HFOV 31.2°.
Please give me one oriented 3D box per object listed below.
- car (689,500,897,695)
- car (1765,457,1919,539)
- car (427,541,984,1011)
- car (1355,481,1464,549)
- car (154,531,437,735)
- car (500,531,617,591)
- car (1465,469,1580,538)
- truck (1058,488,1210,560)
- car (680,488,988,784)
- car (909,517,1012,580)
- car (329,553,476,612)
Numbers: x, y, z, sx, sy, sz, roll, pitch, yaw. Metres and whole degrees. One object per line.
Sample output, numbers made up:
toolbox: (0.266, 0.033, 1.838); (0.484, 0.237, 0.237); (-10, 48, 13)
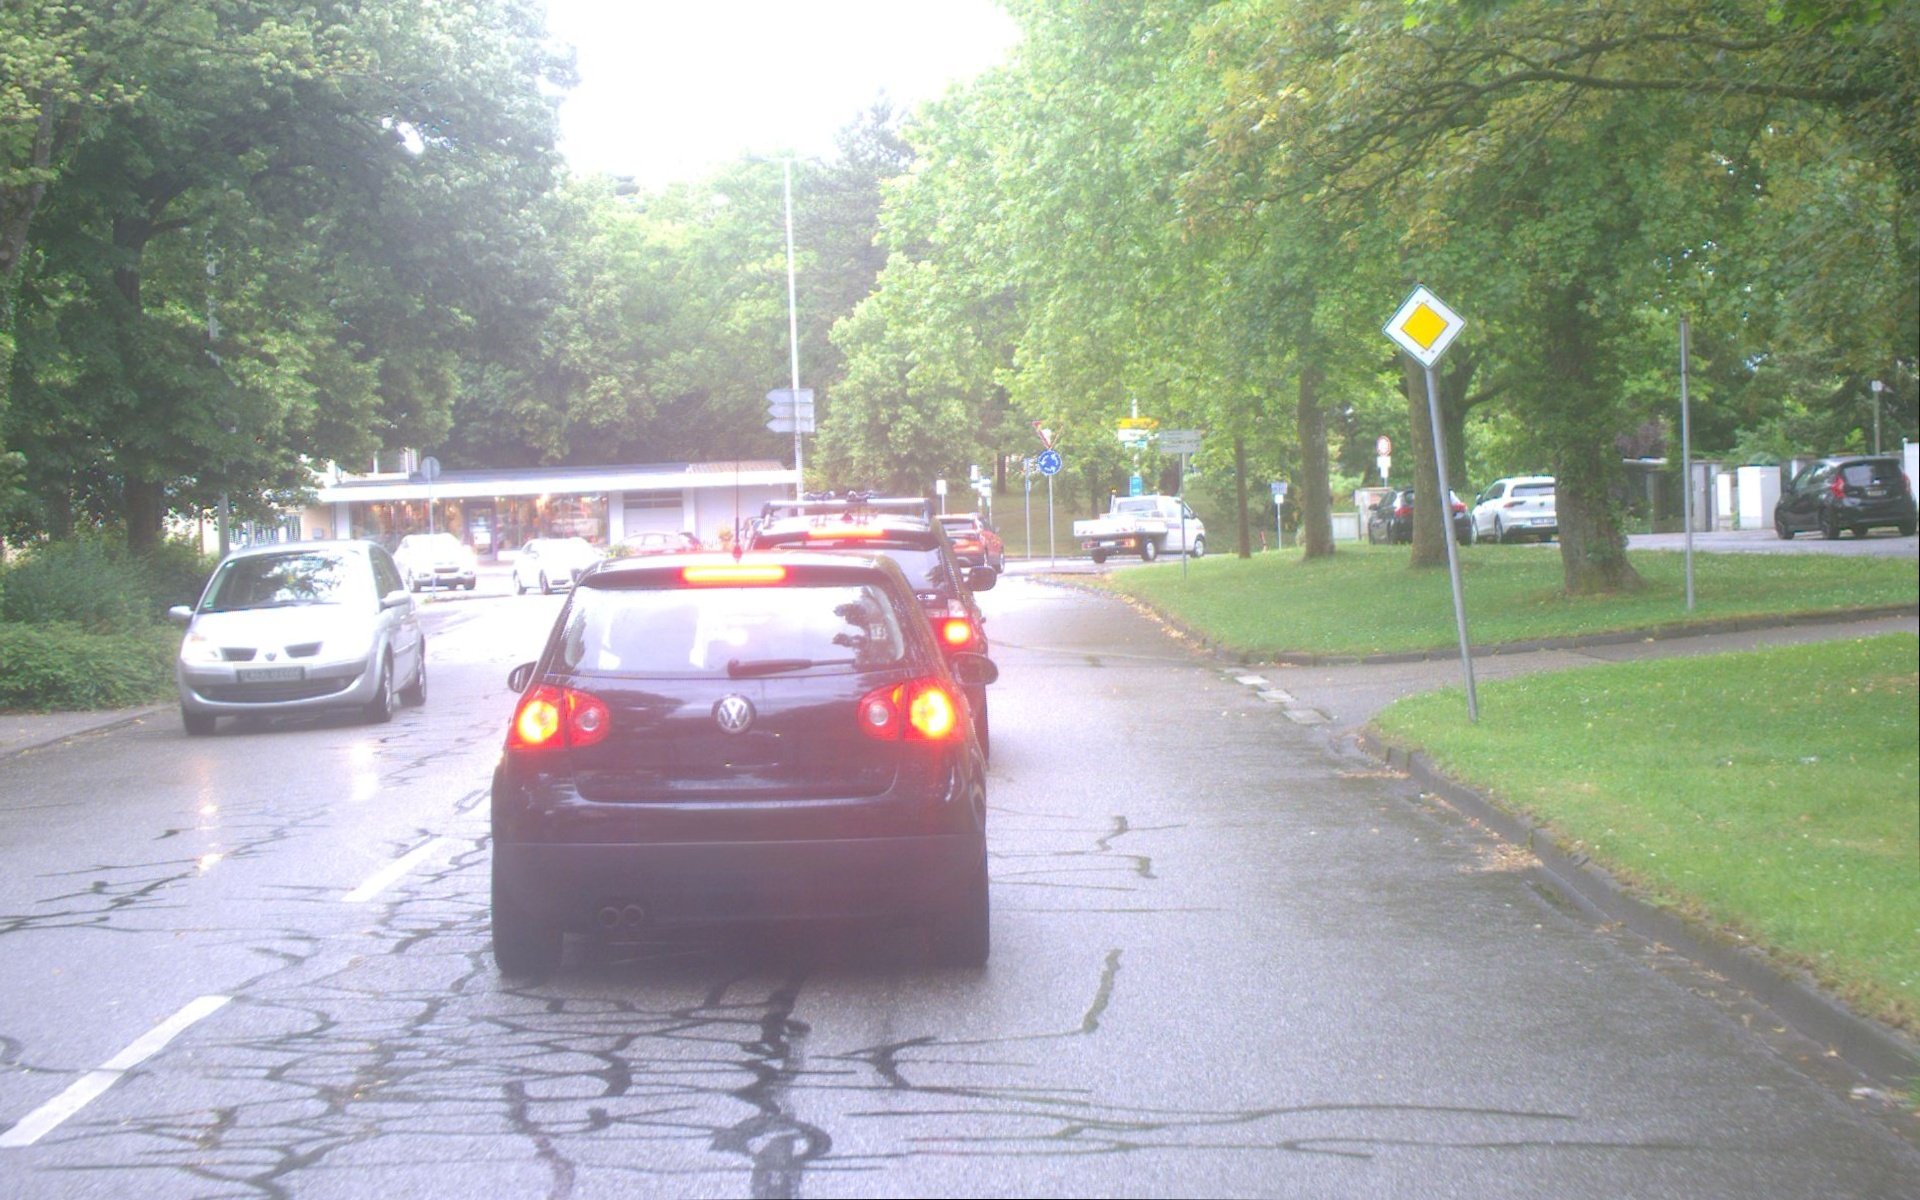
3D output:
car: (-1.617, -0.051, 34.475); (1.855, 1.778, 4.000); (-2, 1, 0)
car: (16.727, -1.931, 64.973); (1.801, 1.406, 4.113); (-3, 2, -3)
car: (-0.848, 0.551, 13.159); (1.798, 1.510, 3.754); (-1, 1, 0)
car: (10.125, -1.938, 77.668); (1.803, 1.380, 4.001); (-4, 2, -1)
car: (-5.833, 0.233, 30.630); (1.763, 1.608, 4.141); (-3, 1, -2)
car: (-10.294, -1.000, 87.993); (1.608, 1.422, 4.009); (-4, 2, -27)
car: (12.700, -2.195, 77.779); (1.803, 1.401, 4.001); (-4, 2, -1)
truck: (5.233, -2.294, 102.955); (2.420, 1.998, 5.142); (-2, 1, 30)
car: (-0.798, 0.181, 23.437); (1.855, 1.778, 4.000); (-2, 1, 0)
car: (0.035, -1.332, 87.945); (1.707, 1.508, 3.671); (-2, 1, 14)
car: (-16.176, -0.508, 99.738); (3.796, 1.612, 1.776); (-1, 1, 22)
